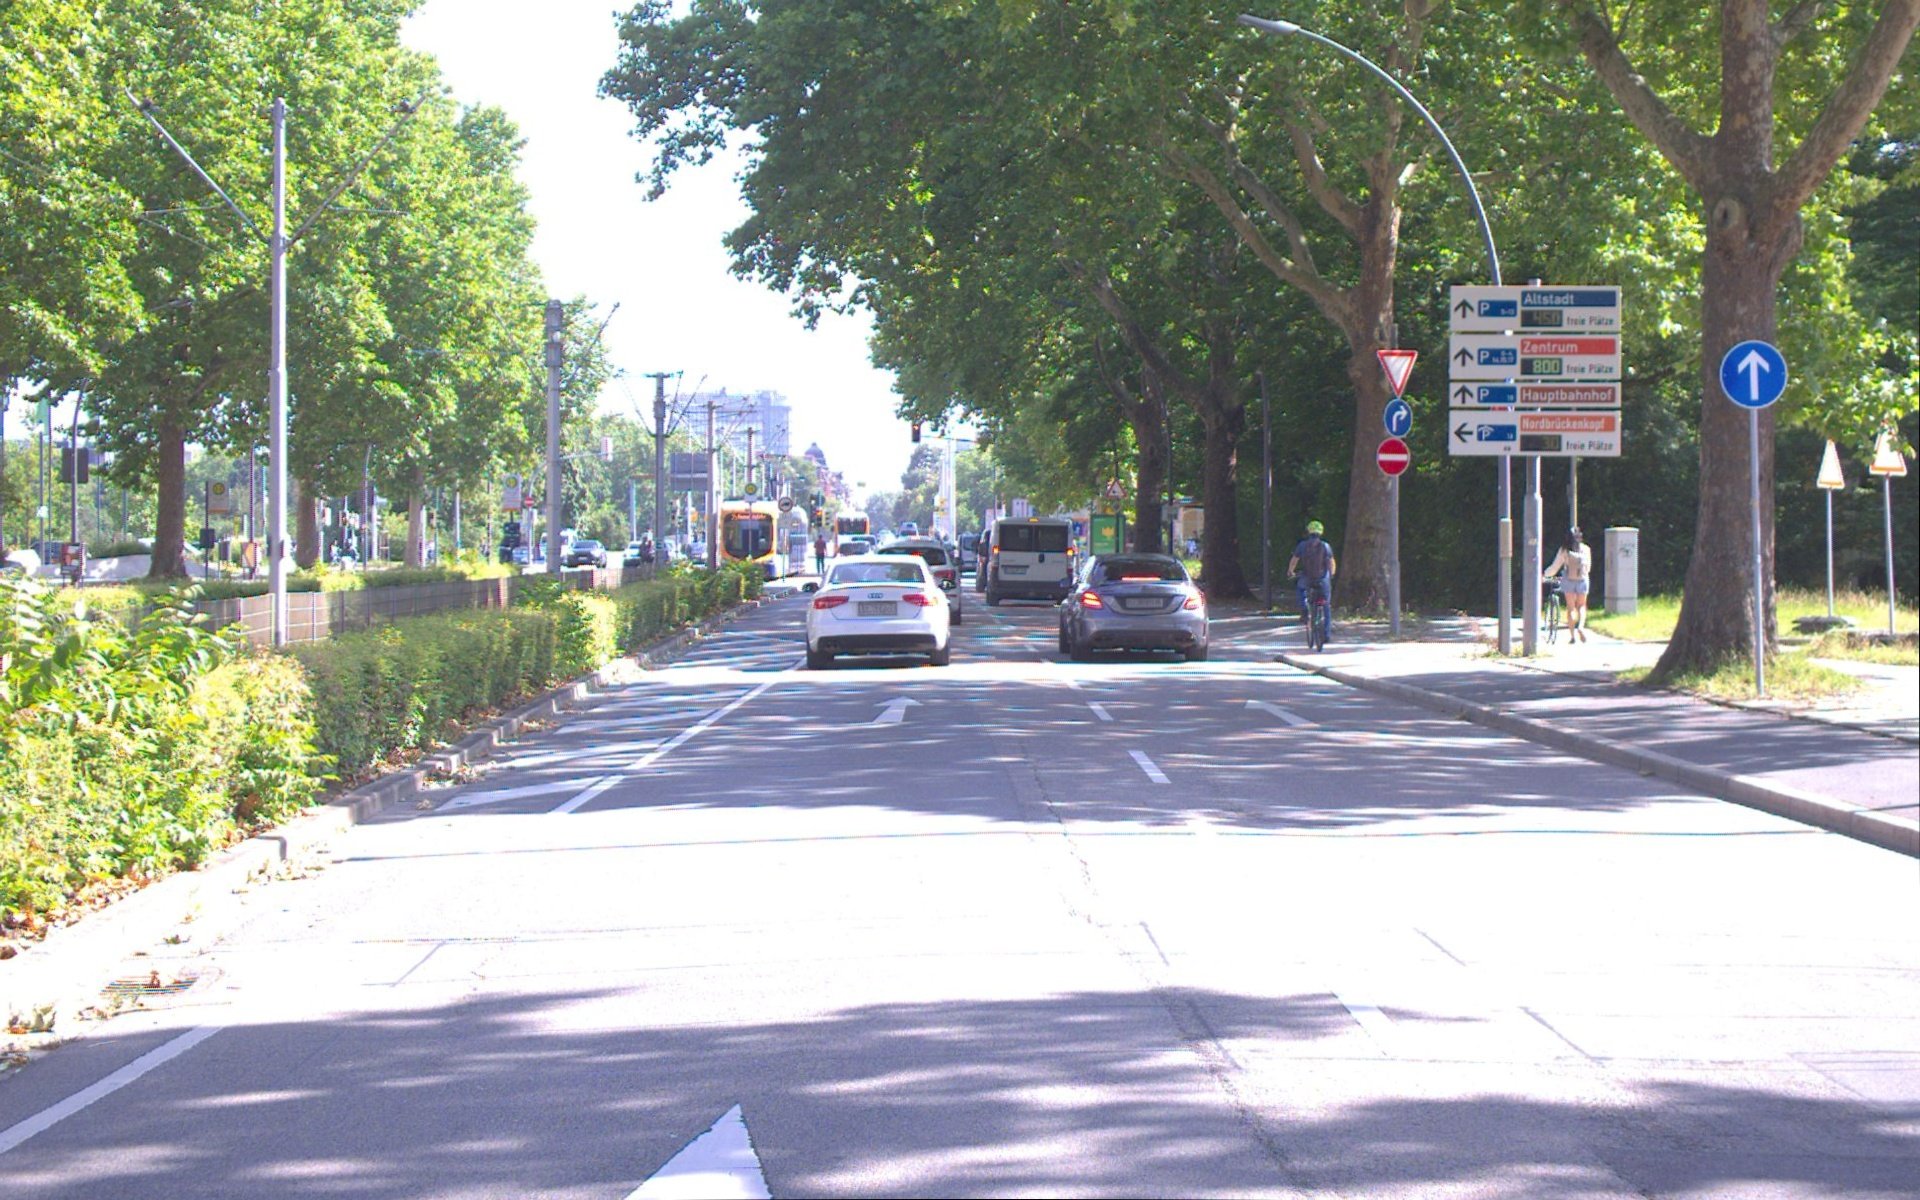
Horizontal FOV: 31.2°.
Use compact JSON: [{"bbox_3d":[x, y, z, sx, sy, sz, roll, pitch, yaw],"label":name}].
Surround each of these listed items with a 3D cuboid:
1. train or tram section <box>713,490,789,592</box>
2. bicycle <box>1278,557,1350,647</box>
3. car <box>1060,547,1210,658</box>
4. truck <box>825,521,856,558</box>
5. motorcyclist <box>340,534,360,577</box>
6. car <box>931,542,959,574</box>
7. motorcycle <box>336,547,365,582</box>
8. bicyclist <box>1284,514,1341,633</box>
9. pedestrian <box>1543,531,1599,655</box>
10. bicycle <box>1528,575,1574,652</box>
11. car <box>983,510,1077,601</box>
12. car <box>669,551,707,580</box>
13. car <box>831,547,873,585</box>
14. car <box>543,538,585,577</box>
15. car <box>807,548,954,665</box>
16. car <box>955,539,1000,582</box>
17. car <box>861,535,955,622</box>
[{"bbox_3d":[-8.446,-2.377,139.726,2.616,4.001,7.749,0,1,0],"label":"train or tram section"},{"bbox_3d":[5.050,0.010,49.154,0.714,1.144,2.179,-2,3,-1],"label":"bicycle"},{"bbox_3d":[2.316,0.002,46.415,1.782,1.415,4.000,0,1,0],"label":"car"},{"bbox_3d":[-9.026,-4.551,259.648,1.993,2.780,8.519,0,1,0],"label":"truck"},{"bbox_3d":[-20.466,-1.489,115.423,0.581,1.452,0.533,0,1,0],"label":"motorcyclist"},{"bbox_3d":[-0.918,-2.601,212.214,1.729,1.895,4.000,0,1,0],"label":"car"},{"bbox_3d":[-20.466,-1.192,115.420,0.632,1.171,2.000,0,1,-1],"label":"motorcycle"},{"bbox_3d":[5.034,-0.385,49.192,0.634,1.642,0.979,-2,2,-1],"label":"bicyclist"},{"bbox_3d":[8.839,-0.108,49.745,0.632,1.779,0.874,0,1,-1],"label":"pedestrian"},{"bbox_3d":[8.525,0.190,49.624,0.349,1.078,1.699,0,1,-1],"label":"bicycle"},{"bbox_3d":[1.722,-1.107,85.996,2.230,2.204,4.162,0,1,0],"label":"car"},{"bbox_3d":[-16.428,-2.096,207.687,1.993,1.728,4.000,0,1,0],"label":"car"},{"bbox_3d":[-4.679,-1.497,149.568,1.729,1.625,4.000,0,1,0],"label":"car"},{"bbox_3d":[-24.466,-2.619,212.350,2.114,2.374,4.000,0,1,0],"label":"car"},{"bbox_3d":[-0.985,0.050,43.981,1.784,1.416,3.885,0,1,0],"label":"car"},{"bbox_3d":[0.800,-1.888,162.166,2.072,1.992,4.058,0,1,0],"label":"car"},{"bbox_3d":[-0.981,-0.421,65.751,1.729,1.599,3.885,0,1,0],"label":"car"}]
